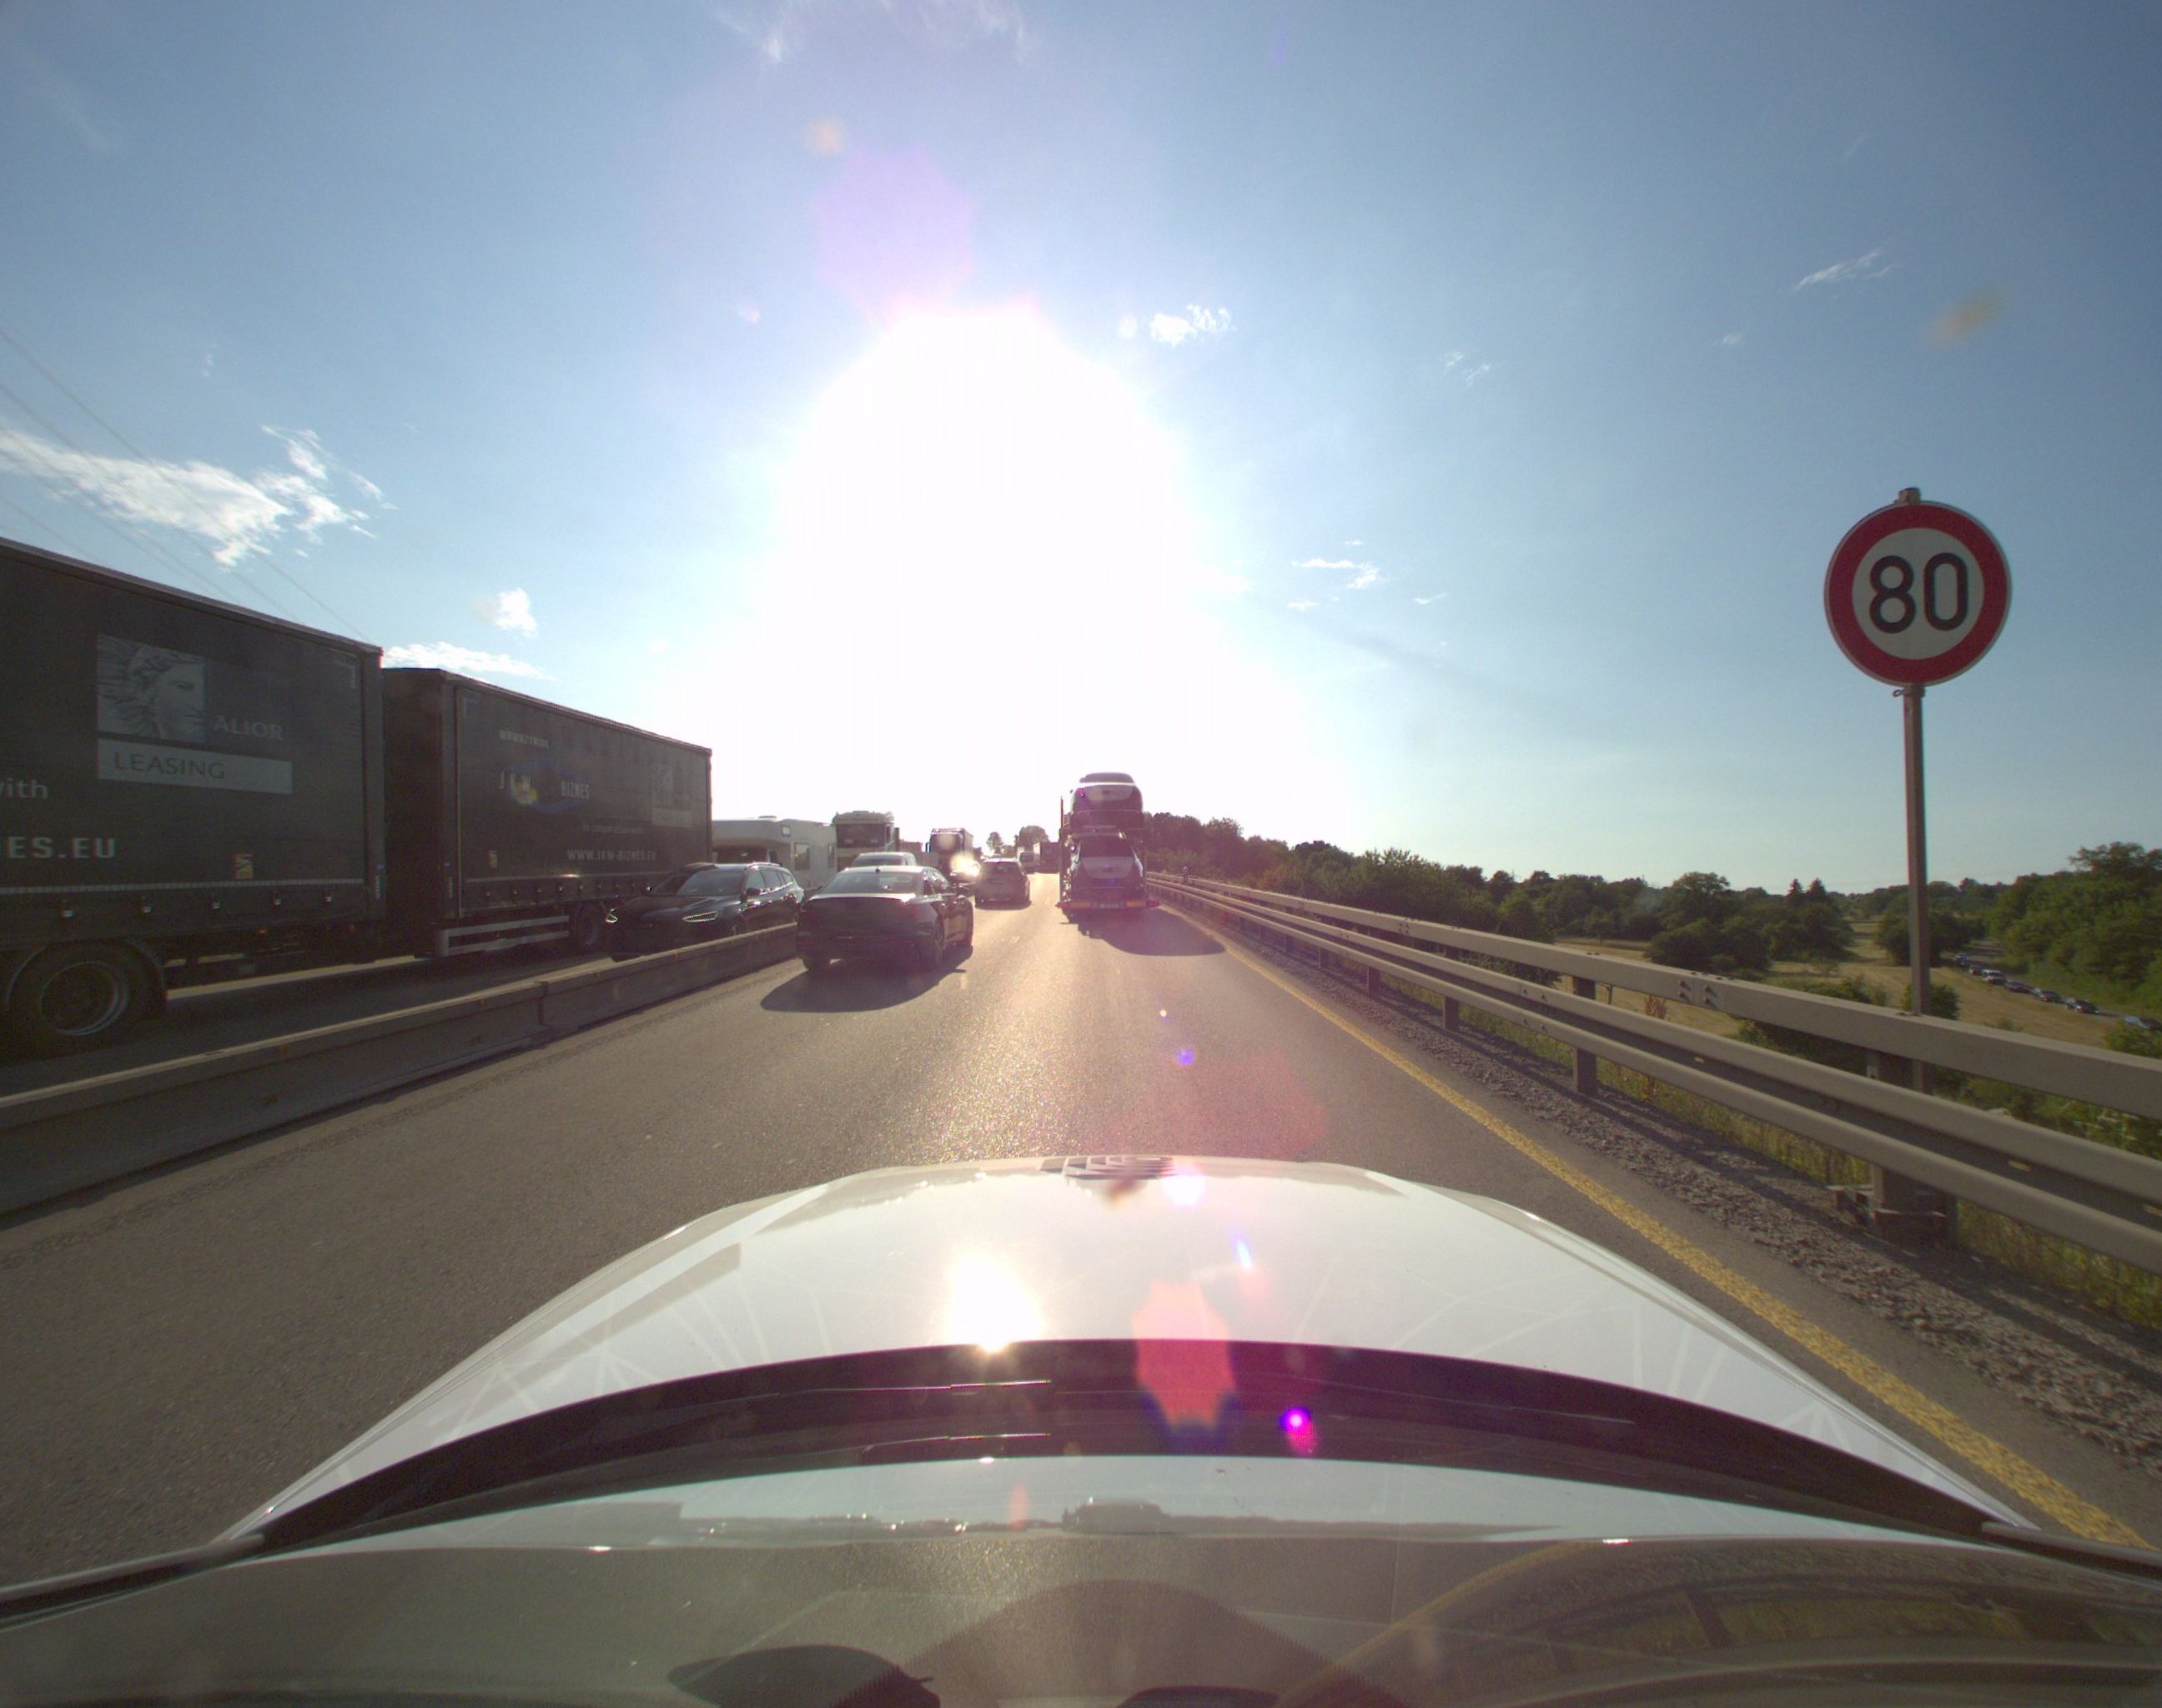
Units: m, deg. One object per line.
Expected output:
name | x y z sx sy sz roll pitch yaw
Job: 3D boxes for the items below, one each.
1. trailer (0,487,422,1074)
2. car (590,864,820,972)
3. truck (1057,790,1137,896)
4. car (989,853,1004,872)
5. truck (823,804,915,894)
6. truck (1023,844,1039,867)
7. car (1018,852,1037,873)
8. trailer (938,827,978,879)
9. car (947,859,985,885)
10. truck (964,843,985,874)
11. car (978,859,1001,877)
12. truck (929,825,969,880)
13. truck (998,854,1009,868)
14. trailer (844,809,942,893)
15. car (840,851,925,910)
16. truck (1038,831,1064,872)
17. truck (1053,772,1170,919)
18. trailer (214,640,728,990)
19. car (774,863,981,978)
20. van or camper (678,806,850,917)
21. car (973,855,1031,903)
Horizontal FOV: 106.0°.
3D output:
trailer | -9.199 -0.549 4.574 2.468 4.329 10.508 -1 -1 0
car | -5.974 0.919 13.642 1.674 1.479 4.603 -1 -1 1
truck | 0.520 -0.339 34.388 2.830 3.792 9.981 -1 -1 -1
car | -11.736 1.230 113.160 2.054 2.500 6.762 -1 -1 -6
truck | -9.507 -0.170 37.204 2.594 3.754 6.513 -1 -1 -1
truck | -8.435 0.293 138.863 2.525 3.648 8.895 -1 -1 -3
car | -6.515 1.038 99.134 1.915 2.493 5.407 -1 -1 0
trailer | -10.629 0.015 71.427 2.302 4.130 14.578 -1 -1 -4
car | -7.027 1.090 50.052 1.789 1.511 4.583 -1 -1 -2
truck | -14.374 0.649 110.213 2.500 4.066 5.872 -1 -1 -6
car | -8.127 1.236 72.347 1.755 1.508 4.249 -1 -1 -3
truck | -10.251 -0.070 63.694 2.498 4.066 5.658 -1 -1 -3
truck | -17.912 1.540 188.272 2.587 3.170 6.664 -1 -1 -5
trailer | -9.674 -0.045 43.655 2.513 3.725 13.964 -1 -1 -2
car | -6.198 0.798 25.914 1.752 1.695 4.449 -1 -1 -3
truck | -4.061 -0.289 109.409 3.278 5.237 9.926 -1 -1 -2
truck | 0.672 -0.142 24.956 2.791 3.497 10.600 -1 -1 -1
trailer | -9.200 -0.436 14.087 2.435 4.189 8.541 -1 -1 0
car | -2.875 0.864 12.761 1.928 1.399 4.961 -1 0 1
van or camper | -9.453 0.248 25.326 2.401 2.891 7.615 -1 -1 -1
car | -2.743 0.857 29.052 1.687 1.596 3.998 -1 -1 -1
